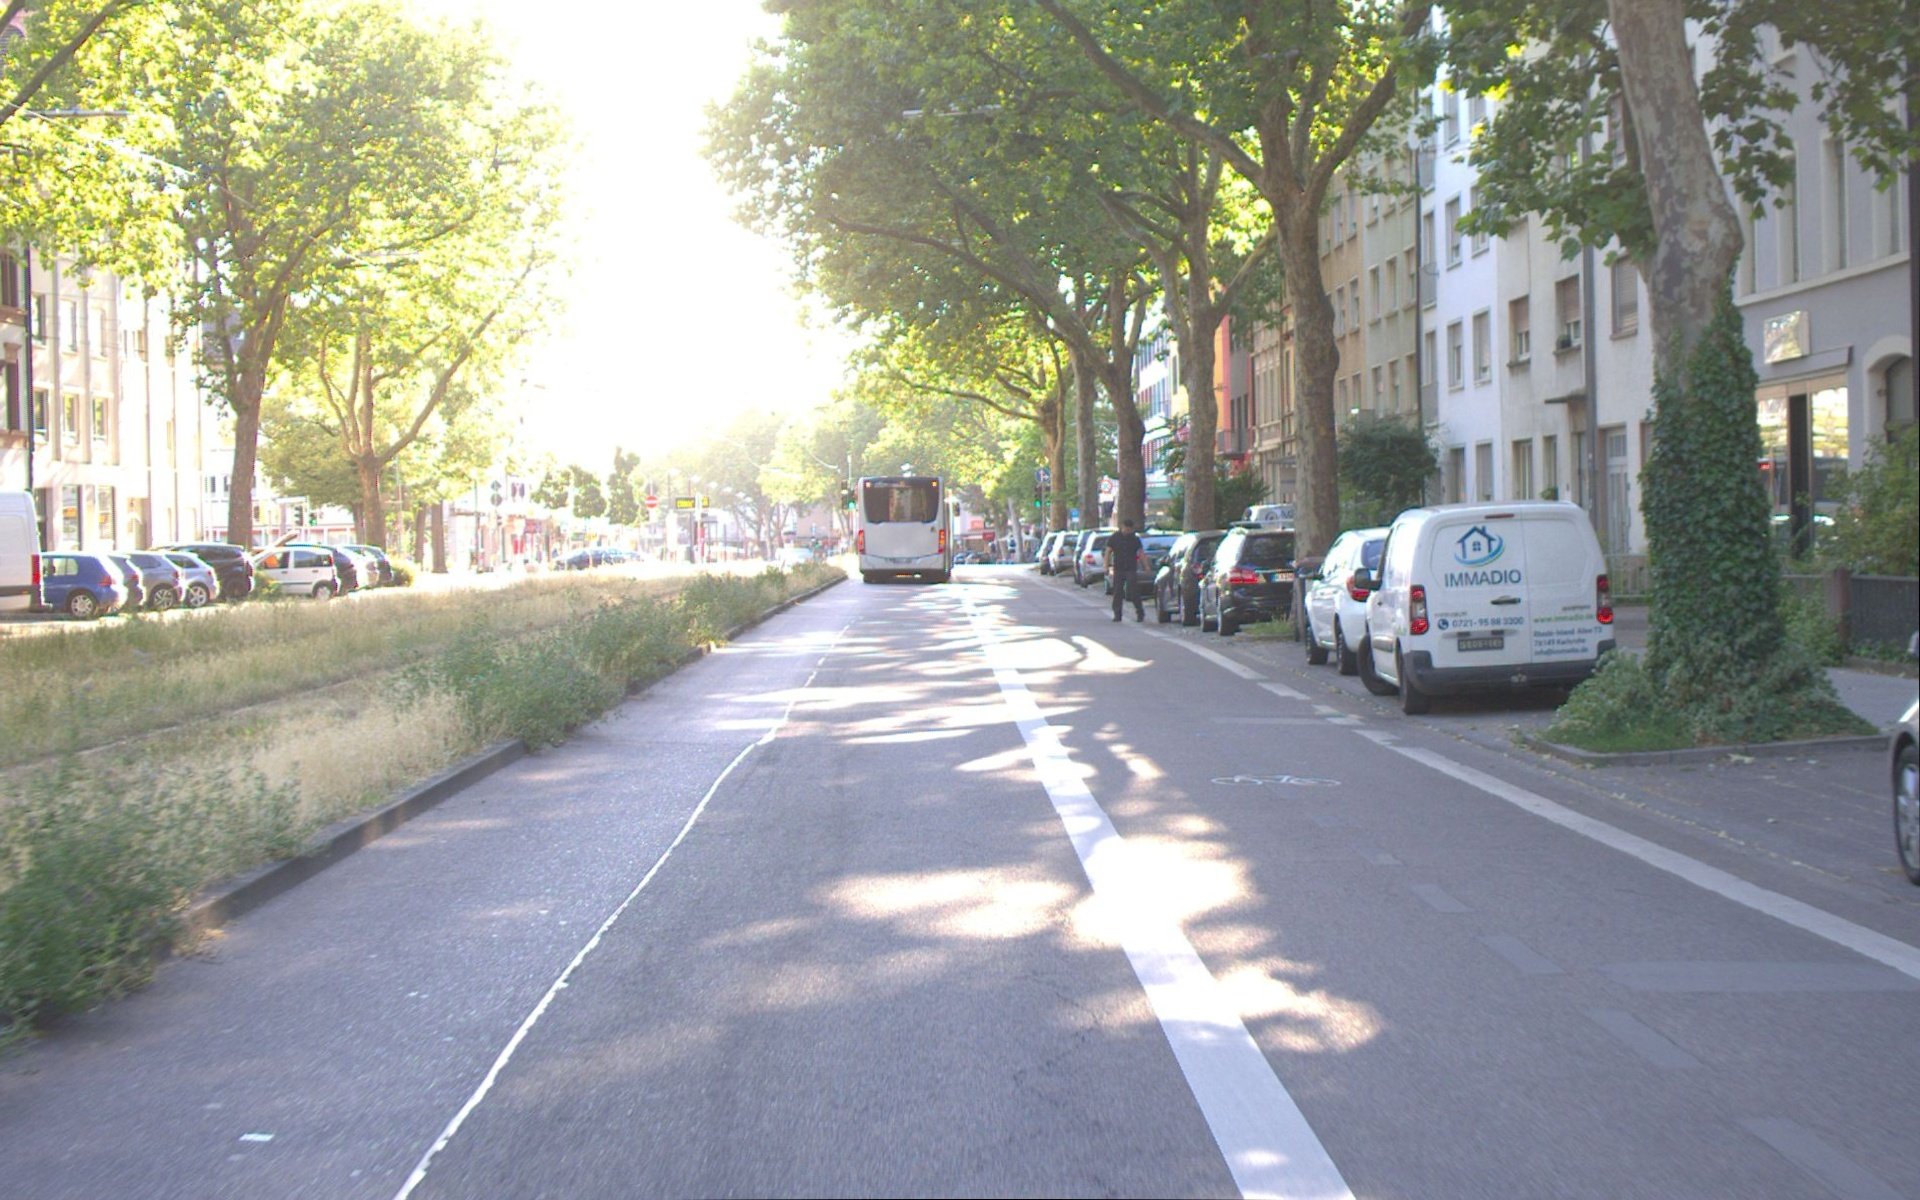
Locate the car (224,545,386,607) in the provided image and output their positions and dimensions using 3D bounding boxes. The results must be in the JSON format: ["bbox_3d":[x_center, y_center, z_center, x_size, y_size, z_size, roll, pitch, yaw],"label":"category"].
[{"bbox_3d":[-19.175,-0.718,100.715,4.300,1.732,1.857,-1,1,-41],"label":"car"}]

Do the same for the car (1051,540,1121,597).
[{"bbox_3d":[3.590,-0.917,98.360,1.781,1.510,4.000,-1,1,-1],"label":"car"}]

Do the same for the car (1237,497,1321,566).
[{"bbox_3d":[9.028,-1.921,97.590,1.883,1.853,4.326,-1,0,-1],"label":"car"}]

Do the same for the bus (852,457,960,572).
[{"bbox_3d":[-1.668,-2.474,102.166,2.833,3.224,8.183,-1,0,-3],"label":"bus"}]

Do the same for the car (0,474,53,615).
[{"bbox_3d":[-20.949,-1.001,65.317,6.936,2.669,2.186,-1,0,-21],"label":"car"}]

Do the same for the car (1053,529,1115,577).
[{"bbox_3d":[4.049,-1.556,112.737,1.781,1.510,4.000,-1,1,-1],"label":"car"}]

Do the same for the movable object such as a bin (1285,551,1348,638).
[{"bbox_3d":[4.517,-0.075,43.549,0.673,1.042,0.880,-1,3,-1],"label":"movable object such as a bin"}]

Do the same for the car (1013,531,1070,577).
[{"bbox_3d":[2.822,-1.599,119.318,1.781,1.510,4.000,-1,1,-1],"label":"car"}]

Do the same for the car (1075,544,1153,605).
[{"bbox_3d":[4.010,-0.682,90.158,1.781,1.510,4.000,-1,1,-1],"label":"car"}]

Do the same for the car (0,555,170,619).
[{"bbox_3d":[-21.124,-0.315,81.443,4.300,1.453,1.857,-1,1,-41],"label":"car"}]

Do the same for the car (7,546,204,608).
[{"bbox_3d":[-21.029,-0.572,84.674,4.300,1.453,1.857,-1,1,-41],"label":"car"}]

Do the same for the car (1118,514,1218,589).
[{"bbox_3d":[4.361,-1.037,72.424,1.781,1.510,4.000,-1,1,-1],"label":"car"}]

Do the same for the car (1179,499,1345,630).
[{"bbox_3d":[4.284,-0.502,49.406,1.744,1.764,4.989,-1,0,-2],"label":"car"}]

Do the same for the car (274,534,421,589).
[{"bbox_3d":[-19.789,-1.250,111.207,4.300,1.732,1.857,-1,1,-41],"label":"car"}]

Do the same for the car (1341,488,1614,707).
[{"bbox_3d":[4.480,-0.037,30.324,1.744,1.764,4.394,-1,0,0],"label":"car"}]

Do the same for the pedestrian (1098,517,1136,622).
[{"bbox_3d":[2.680,-0.531,58.843,0.576,1.773,0.514,-1,1,-1],"label":"pedestrian"}]

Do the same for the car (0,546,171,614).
[{"bbox_3d":[-20.227,-0.444,77.880,4.297,1.453,1.859,-1,0,-23],"label":"car"}]

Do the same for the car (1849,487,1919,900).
[{"bbox_3d":[4.764,0.375,13.195,1.744,1.684,3.852,-1,0,1],"label":"car"}]

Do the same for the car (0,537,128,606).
[{"bbox_3d":[-20.506,-0.608,75.078,4.297,1.453,1.859,-1,0,-6],"label":"car"}]

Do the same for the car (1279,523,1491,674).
[{"bbox_3d":[4.477,-0.057,36.737,1.645,1.481,4.000,-1,1,-1],"label":"car"}]

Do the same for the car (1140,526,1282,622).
[{"bbox_3d":[4.080,-0.426,56.433,1.685,1.481,4.001,-1,0,-5],"label":"car"}]
